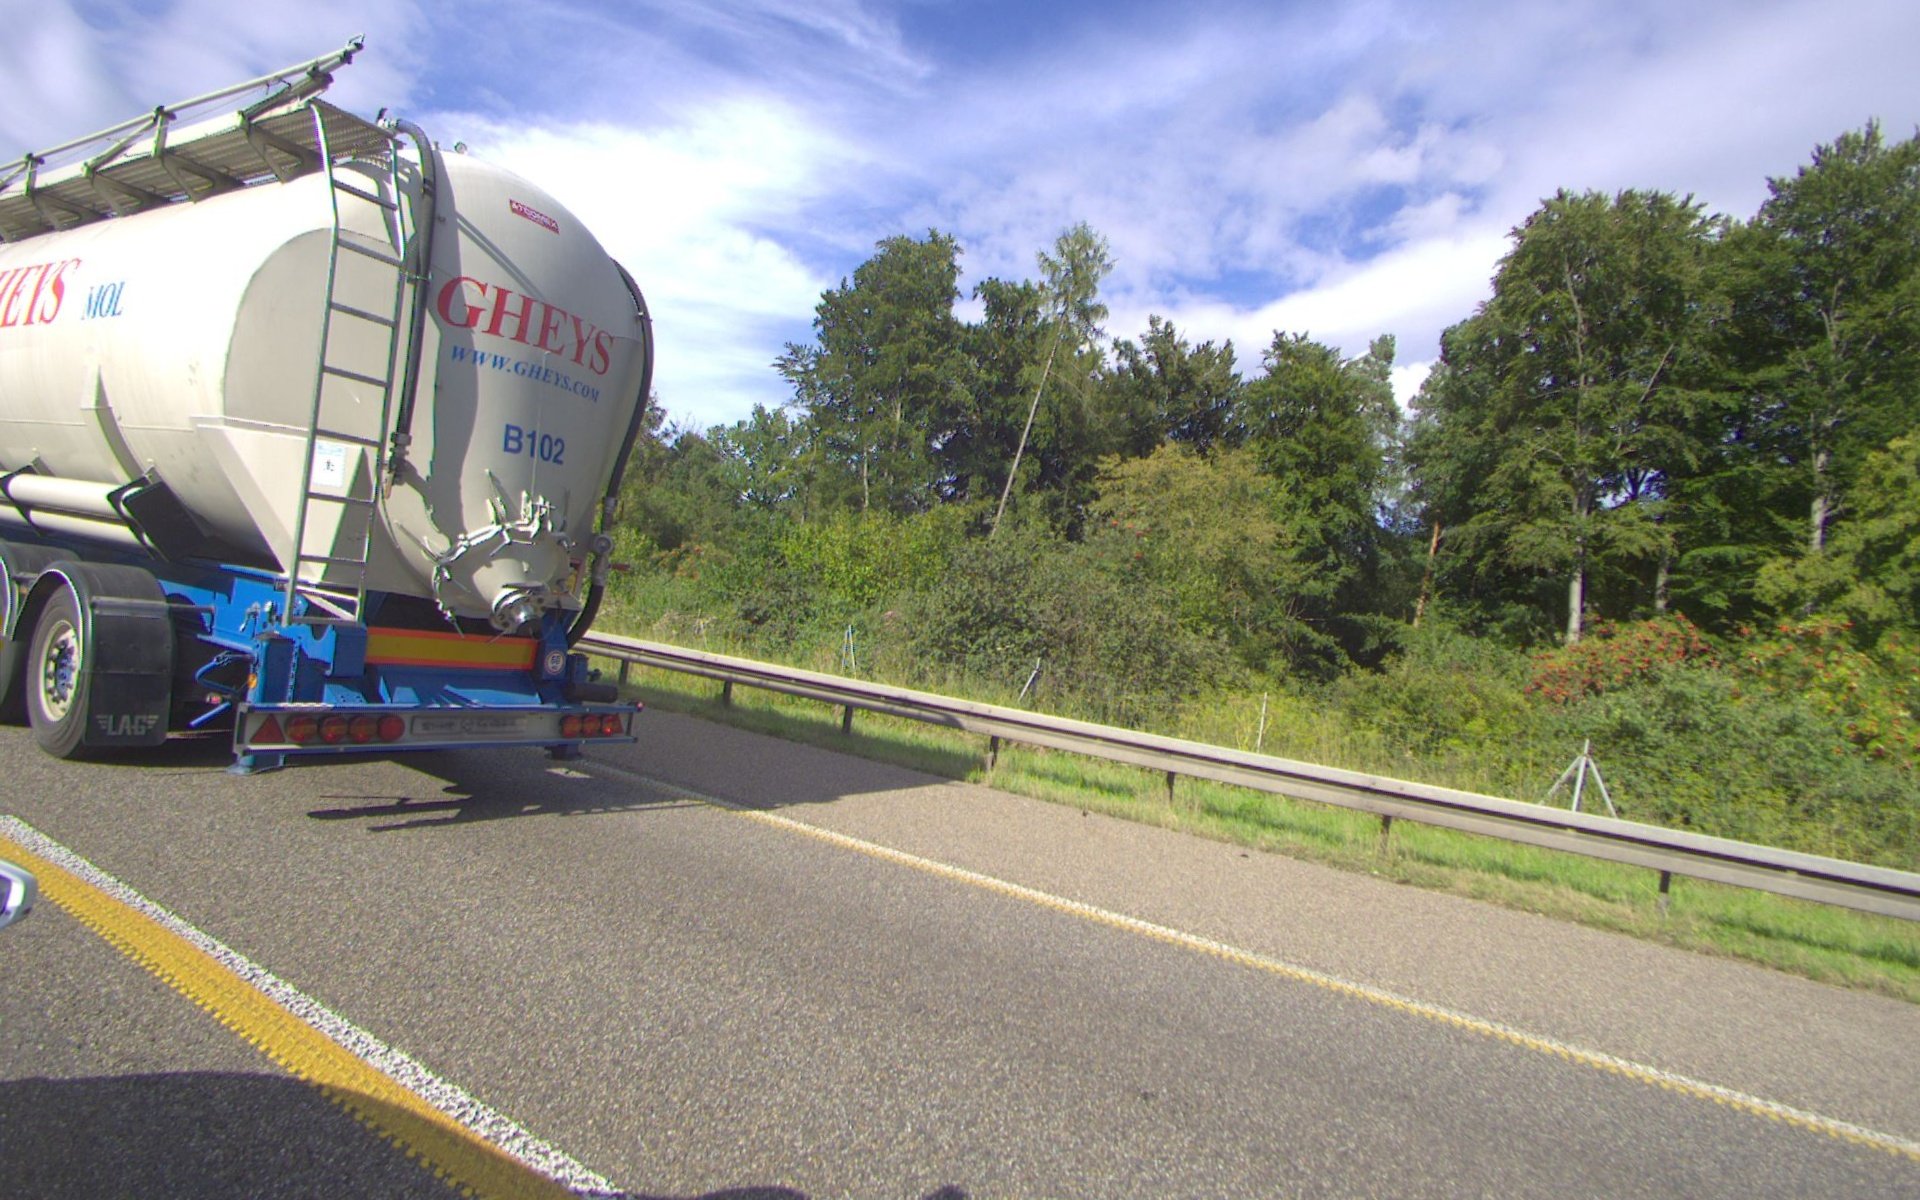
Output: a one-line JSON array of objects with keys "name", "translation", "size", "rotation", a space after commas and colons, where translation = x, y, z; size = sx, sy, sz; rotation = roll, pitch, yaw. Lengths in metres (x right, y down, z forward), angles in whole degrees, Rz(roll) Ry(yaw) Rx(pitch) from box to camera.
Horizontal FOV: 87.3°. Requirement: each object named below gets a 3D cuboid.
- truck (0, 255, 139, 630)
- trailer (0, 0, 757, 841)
[{"name": "truck", "translation": [-13.128, -2.030, 12.344], "size": [5.683, 4.018, 2.664], "rotation": [6, -2, 32]}, {"name": "trailer", "translation": [-7.508, -1.392, 8.829], "size": [12.389, 3.989, 2.649], "rotation": [7, -1, 32]}]
